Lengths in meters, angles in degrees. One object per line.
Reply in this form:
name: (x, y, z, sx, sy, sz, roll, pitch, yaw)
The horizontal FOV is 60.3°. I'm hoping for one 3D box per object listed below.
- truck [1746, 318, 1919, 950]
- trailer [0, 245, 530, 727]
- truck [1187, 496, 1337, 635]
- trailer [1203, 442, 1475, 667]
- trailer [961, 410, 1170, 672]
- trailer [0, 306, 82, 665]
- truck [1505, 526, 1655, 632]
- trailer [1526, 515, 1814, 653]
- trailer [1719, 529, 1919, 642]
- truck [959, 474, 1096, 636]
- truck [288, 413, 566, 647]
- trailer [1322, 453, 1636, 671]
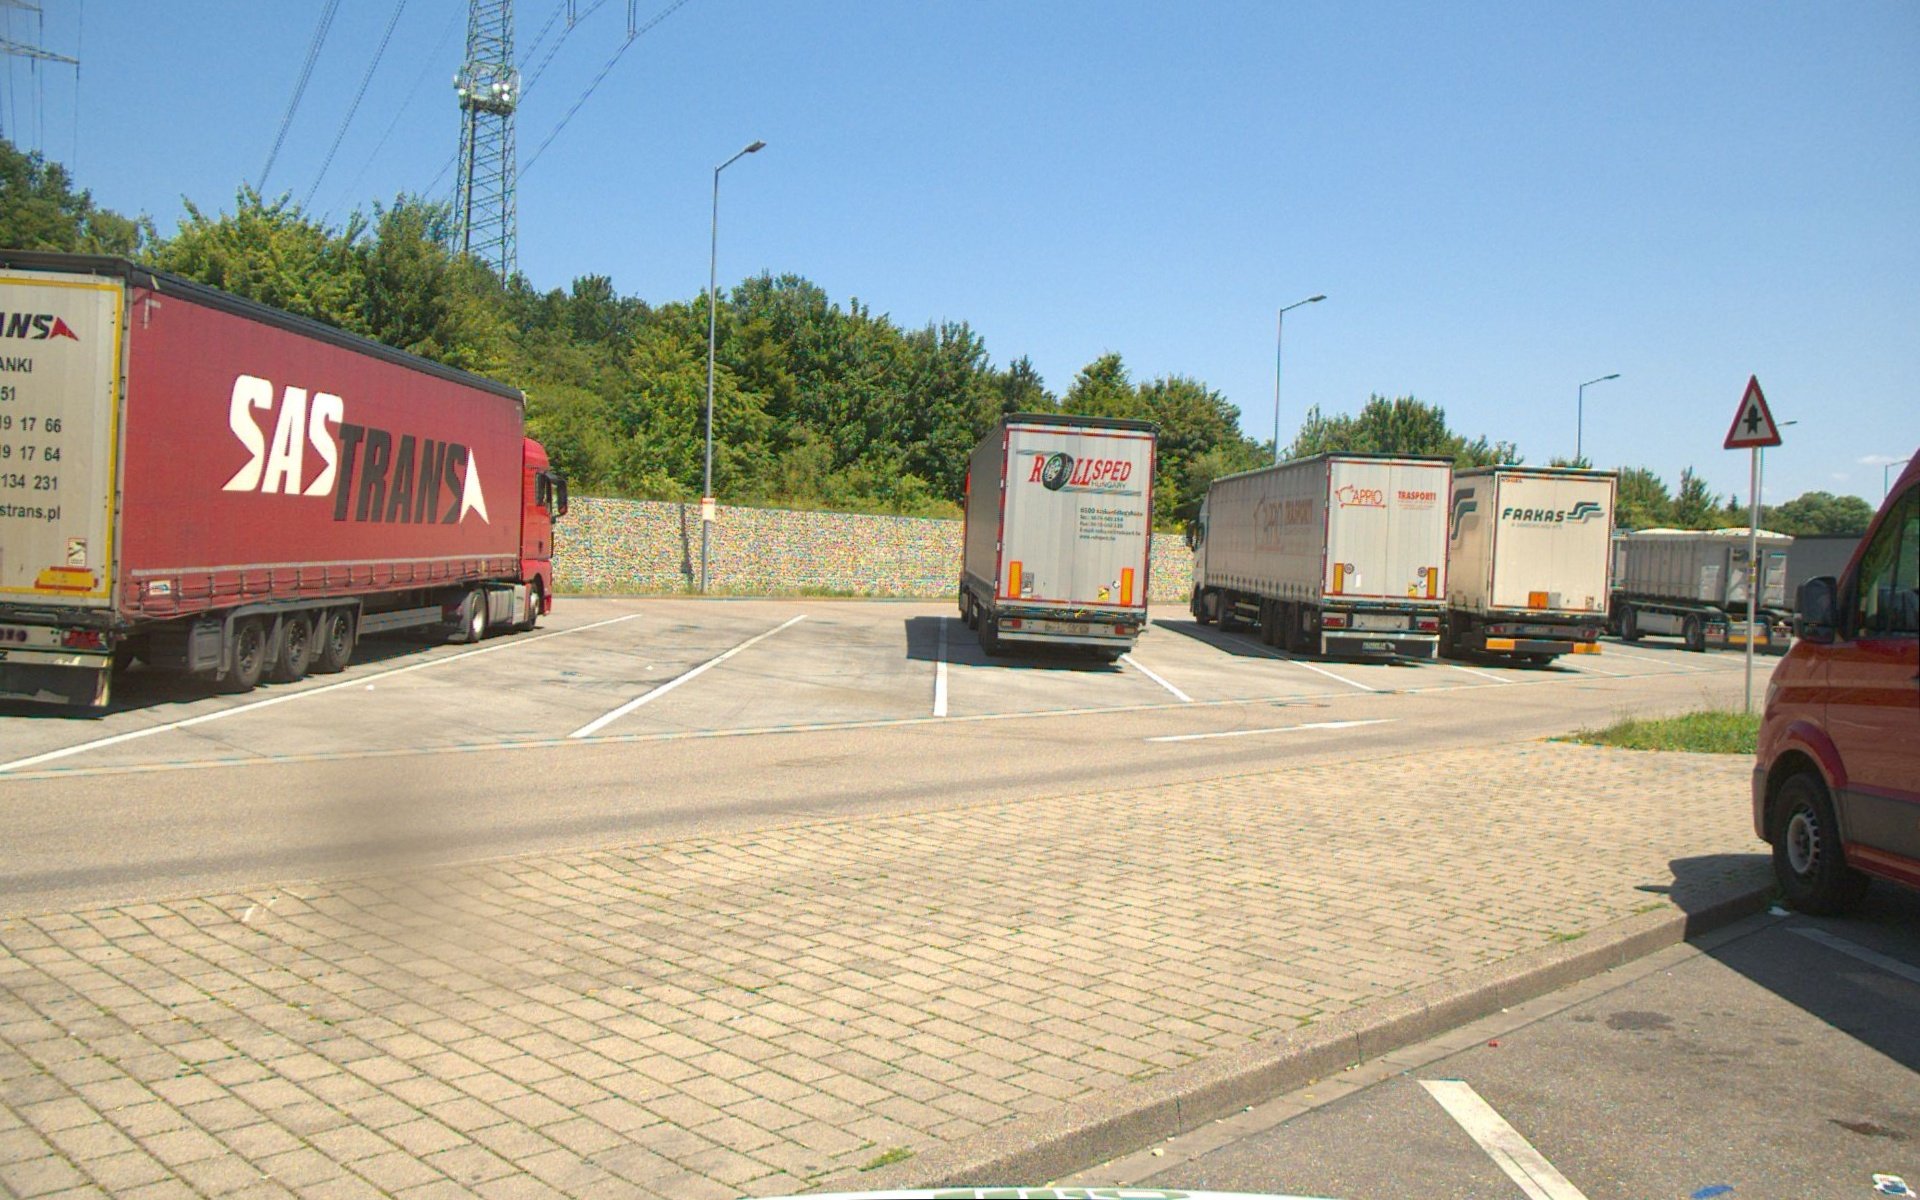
truck: (4.998, 0.156, 5.537, 1.969, 2.697, 6.457, 1, 0, 3)
trailer: (-8.687, -1.270, 21.270, 2.764, 4.141, 13.763, 2, 2, -1)
truck: (8.129, -0.990, 45.284, 2.808, 3.421, 5.974, 2, 2, -1)
trailer: (8.252, -1.107, 38.521, 2.800, 4.180, 13.762, 2, 2, -1)
trailer: (1.679, -1.178, 33.168, 2.800, 4.040, 13.761, 2, 2, -2)
trailer: (-12.484, -1.257, 15.813, 2.651, 4.173, 10.389, 2, 2, -1)
truck: (21.740, -0.804, 58.361, 2.808, 3.421, 5.974, 2, 2, -1)
trailer: (21.838, -0.690, 52.266, 2.800, 3.662, 13.762, 2, 2, -1)
trailer: (34.790, -0.722, 65.465, 2.800, 3.972, 13.762, 2, 2, -1)
truck: (1.478, -1.095, 39.365, 2.808, 3.421, 5.974, 2, 2, -1)
truck: (-8.796, -1.163, 28.086, 2.755, 3.421, 5.974, 2, 2, -1)
trailer: (11.772, -0.996, 39.586, 2.800, 4.180, 13.762, 2, 2, -1)
